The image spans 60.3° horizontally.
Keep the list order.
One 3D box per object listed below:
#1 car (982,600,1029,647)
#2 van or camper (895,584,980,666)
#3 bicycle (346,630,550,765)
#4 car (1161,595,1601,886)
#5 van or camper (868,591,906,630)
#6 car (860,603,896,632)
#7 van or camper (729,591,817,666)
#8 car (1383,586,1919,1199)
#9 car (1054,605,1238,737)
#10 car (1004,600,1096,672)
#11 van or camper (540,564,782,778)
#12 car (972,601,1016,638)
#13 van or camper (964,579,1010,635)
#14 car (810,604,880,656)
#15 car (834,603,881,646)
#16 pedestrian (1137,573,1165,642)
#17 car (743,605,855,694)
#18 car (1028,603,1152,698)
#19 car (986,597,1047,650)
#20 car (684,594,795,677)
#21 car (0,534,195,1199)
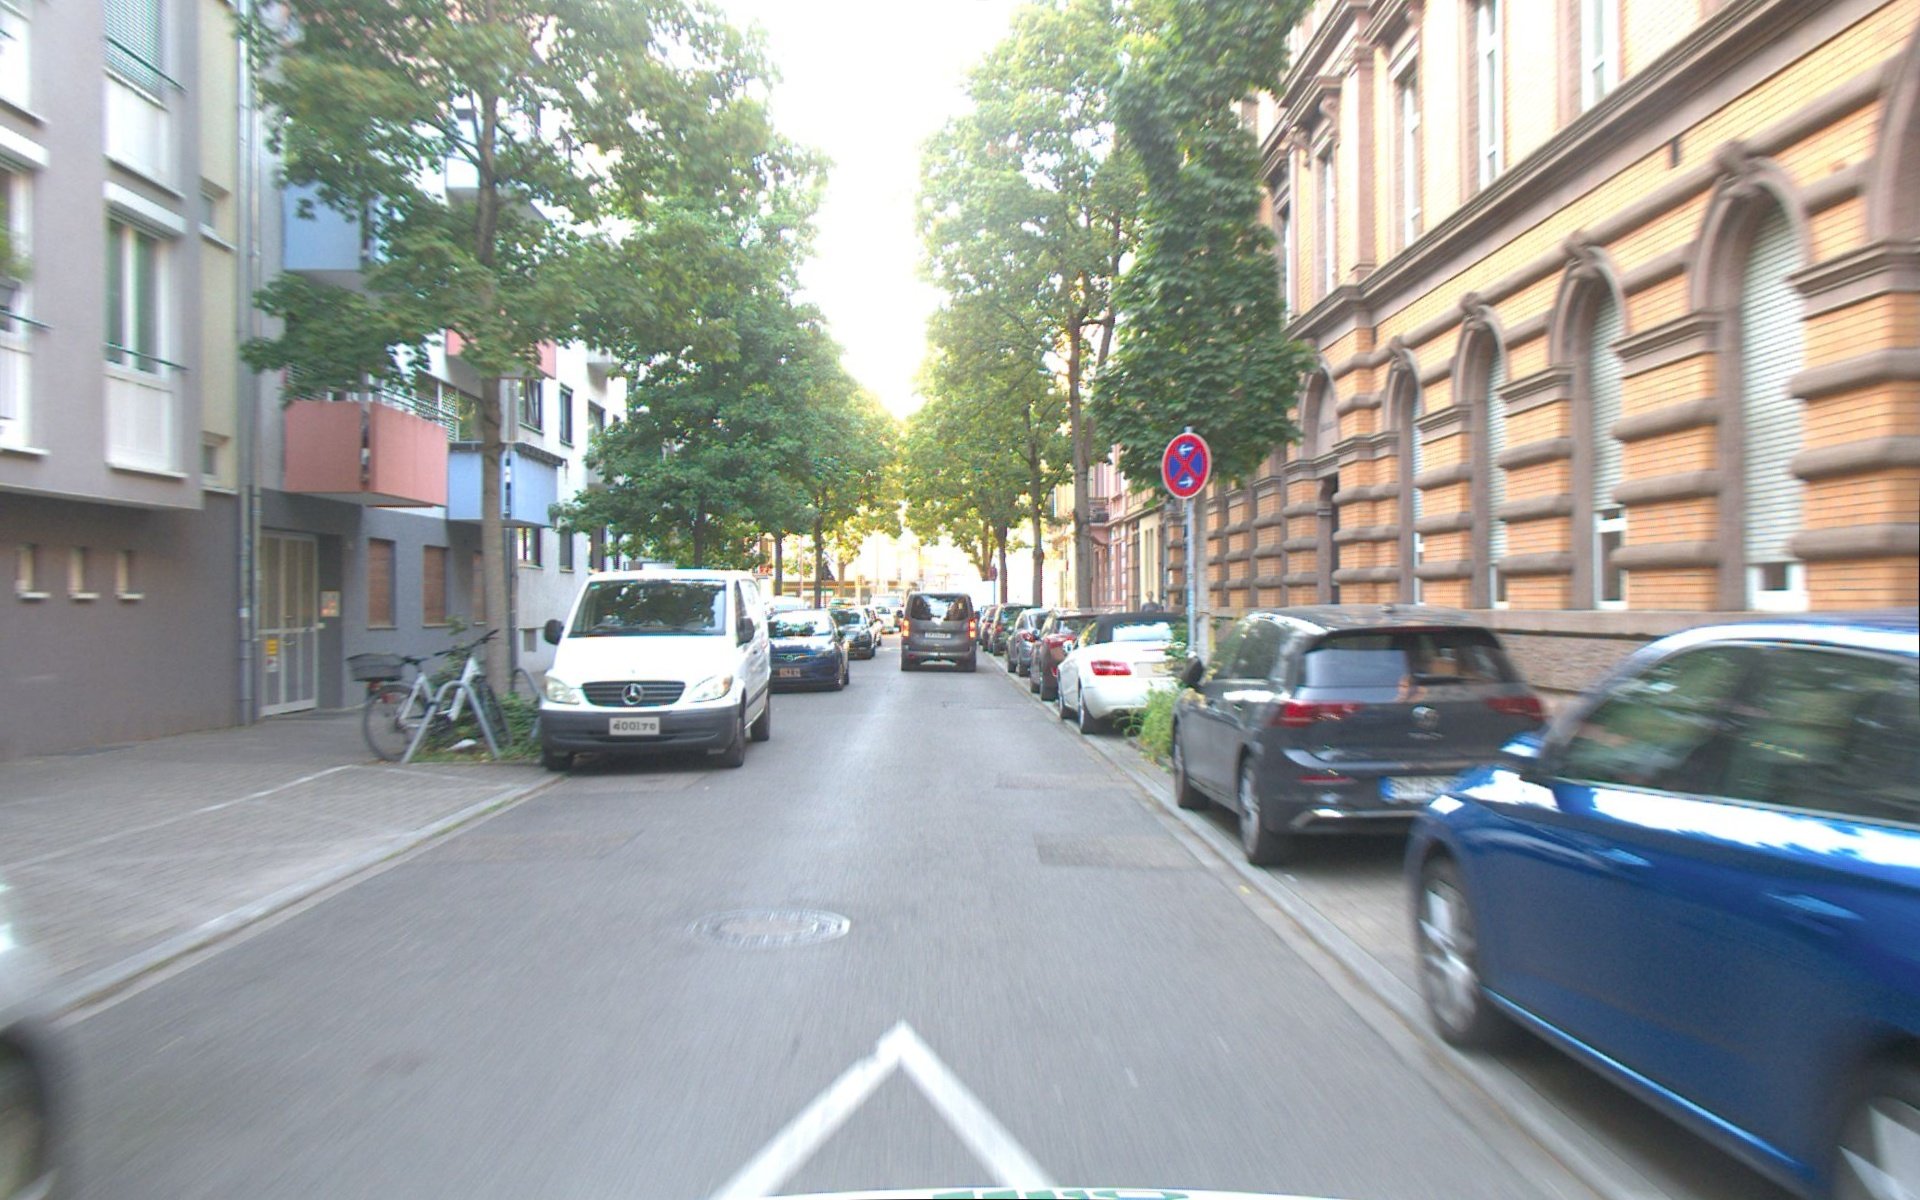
[{"bbox_3d":[1.549,0.779,56.137,1.519,1.523,3.611,0,0,2],"label":"car"},{"bbox_3d":[-0.507,0.592,41.253,1.993,1.931,4.271,0,0,1],"label":"van or camper"},{"bbox_3d":[-4.952,0.908,16.085,0.686,1.184,1.813,-1,0,40],"label":"bicycle"},{"bbox_3d":[2.452,0.726,10.716,1.677,1.503,4.191,0,0,-2],"label":"car"},{"bbox_3d":[-3.896,0.559,89.011,1.824,2.018,4.271,-1,0,0],"label":"van or camper"},{"bbox_3d":[-4.130,0.860,83.902,1.706,1.429,3.374,-1,0,-1],"label":"car"},{"bbox_3d":[-4.876,0.712,43.587,1.892,1.790,4.463,3,0,-2],"label":"van or camper"},{"bbox_3d":[2.534,0.708,4.270,1.595,1.492,4.243,-1,0,-3],"label":"car"},{"bbox_3d":[2.226,0.805,20.893,1.659,1.426,4.644,-1,0,-2],"label":"car"},{"bbox_3d":[2.018,0.780,38.131,1.664,1.508,3.997,-2,0,-3],"label":"car"},{"bbox_3d":[-2.920,0.622,17.139,1.839,1.875,4.750,-1,0,-3],"label":"van or camper"},{"bbox_3d":[1.402,0.780,69.153,1.714,1.497,3.775,0,0,-1],"label":"car"},{"bbox_3d":[1.262,0.340,80.134,1.953,2.644,5.421,0,0,-2],"label":"van or camper"},{"bbox_3d":[-3.395,0.858,49.538,1.809,1.477,4.501,0,0,-1],"label":"car"},{"bbox_3d":[-3.715,0.863,60.295,1.597,1.455,3.541,-1,1,-2],"label":"car"},{"bbox_3d":[4.638,0.184,40.181,0.614,1.677,0.531,0,0,-1],"label":"pedestrian"},{"bbox_3d":[-2.970,0.884,31.320,1.793,1.544,4.514,0,0,-2],"label":"car"},{"bbox_3d":[2.141,0.816,28.227,1.687,1.475,4.213,-1,-1,-1],"label":"car"},{"bbox_3d":[1.743,0.718,52.134,1.579,1.586,3.764,-1,0,-3],"label":"car"},{"bbox_3d":[-4.964,0.756,37.892,1.993,1.701,4.646,3,0,-2],"label":"car"},{"bbox_3d":[-2.503,0.685,1.885,1.630,1.590,3.997,-1,0,-4],"label":"car"}]
